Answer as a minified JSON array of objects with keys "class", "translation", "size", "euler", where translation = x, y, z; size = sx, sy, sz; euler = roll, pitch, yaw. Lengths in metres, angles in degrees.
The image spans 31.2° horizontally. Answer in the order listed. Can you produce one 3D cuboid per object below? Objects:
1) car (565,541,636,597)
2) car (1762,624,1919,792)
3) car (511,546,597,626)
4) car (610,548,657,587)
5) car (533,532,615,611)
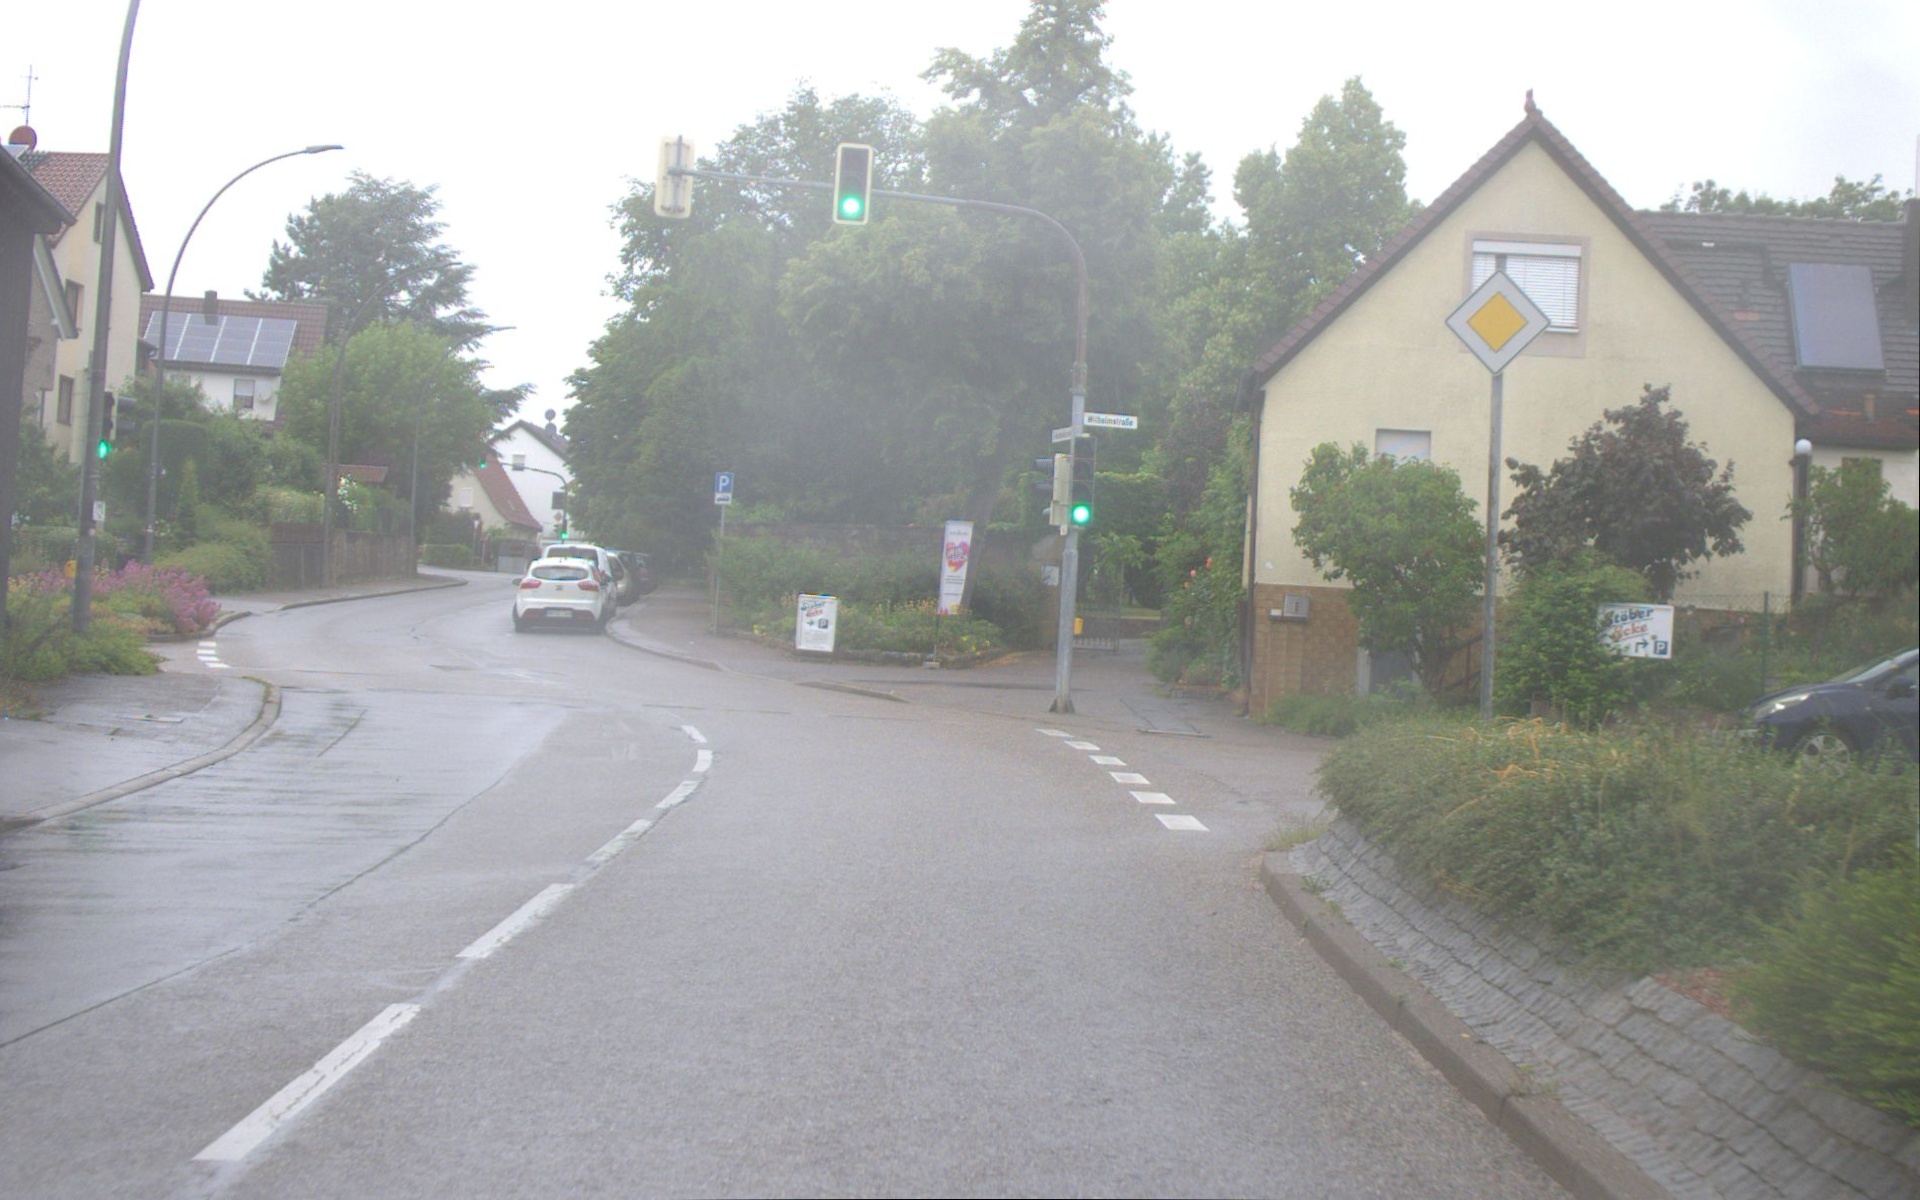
[{"class":"car","translation":[-10.765,-0.916,103.116],"size":[1.814,1.568,3.880],"euler":[3,0,-2]},{"class":"car","translation":[10.367,1.179,35.035],"size":[4.134,1.580,1.863],"euler":[4,-1,11]},{"class":"car","translation":[-8.282,-0.306,70.285],"size":[1.611,1.475,4.039],"euler":[3,0,-6]},{"class":"car","translation":[-12.288,-1.240,129.124],"size":[1.651,1.367,4.182],"euler":[3,1,-6]},{"class":"car","translation":[-9.083,-0.671,81.128],"size":[1.637,1.735,4.136],"euler":[3,0,-4]}]
